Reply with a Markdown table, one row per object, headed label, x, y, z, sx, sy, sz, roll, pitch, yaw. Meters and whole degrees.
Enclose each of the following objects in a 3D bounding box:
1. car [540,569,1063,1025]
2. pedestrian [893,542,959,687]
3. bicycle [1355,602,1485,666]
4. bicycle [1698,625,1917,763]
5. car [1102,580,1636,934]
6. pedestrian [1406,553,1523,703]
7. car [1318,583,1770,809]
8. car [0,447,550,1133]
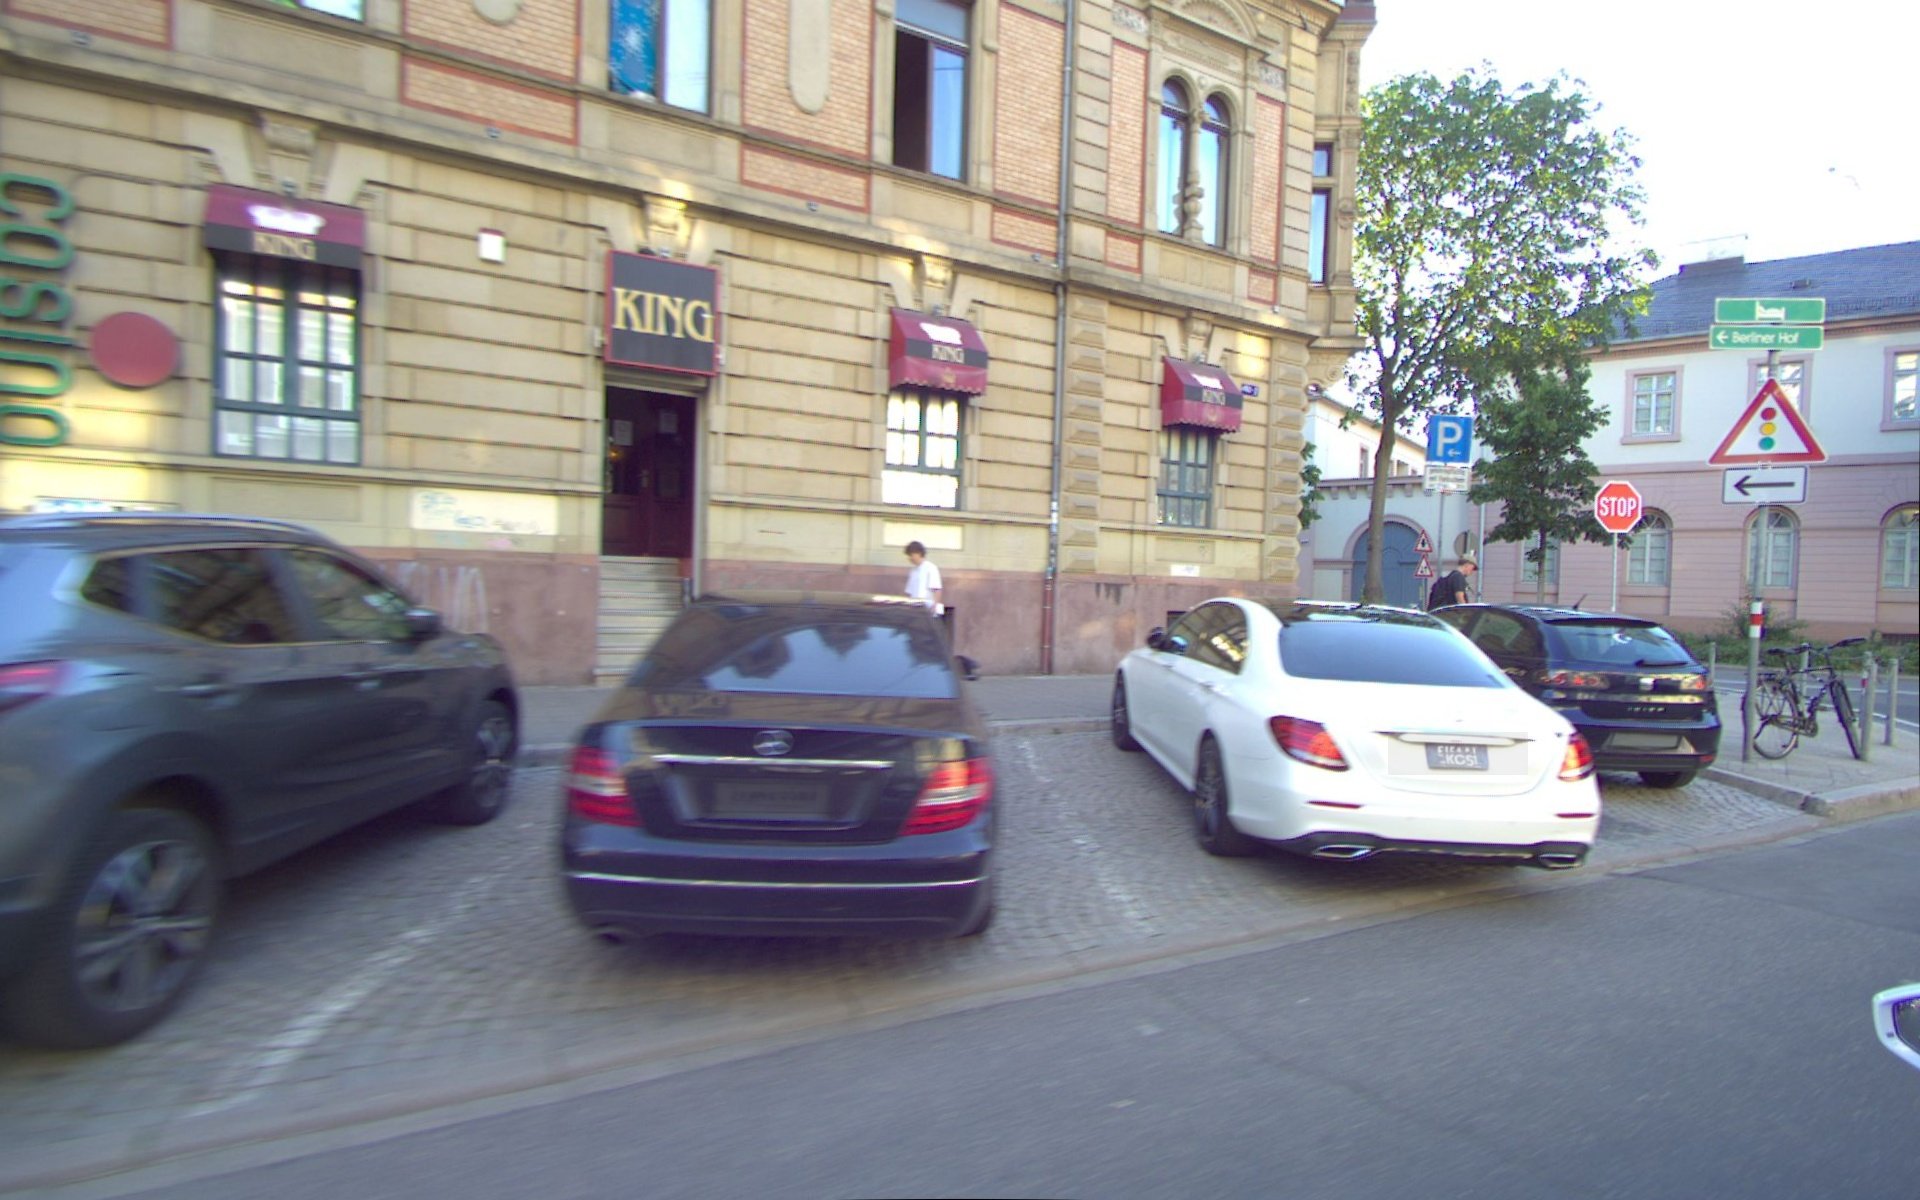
| label | x | y | z | sx | sy | sz | roll | pitch | yaw |
| --- | --- | --- | --- | --- | --- | --- | --- | --- | --- |
| car | -0.630 | 0.633 | 5.403 | 1.678 | 1.467 | 4.249 | 1 | 0 | -3 |
| pedestrian | -0.400 | 0.159 | 11.666 | 0.515 | 1.630 | 0.574 | 1 | 3 | -28 |
| bicycle | 10.252 | 0.725 | 22.500 | 0.838 | 1.284 | 2.546 | 0 | 2 | -36 |
| bicycle | 7.933 | 0.855 | 9.410 | 1.777 | 1.141 | 0.724 | 2 | 4 | -21 |
| car | 2.247 | 0.701 | 7.036 | 1.734 | 1.532 | 4.627 | 2 | 2 | -1 |
| pedestrian | 6.249 | 0.321 | 12.452 | 1.244 | 1.762 | 0.849 | 0 | 2 | 29 |
| car | 5.056 | 0.699 | 9.433 | 1.708 | 1.481 | 3.859 | 2 | 4 | -5 |
| car | -3.321 | 0.442 | 4.176 | 1.758 | 1.679 | 4.048 | 1 | 0 | -3 |
